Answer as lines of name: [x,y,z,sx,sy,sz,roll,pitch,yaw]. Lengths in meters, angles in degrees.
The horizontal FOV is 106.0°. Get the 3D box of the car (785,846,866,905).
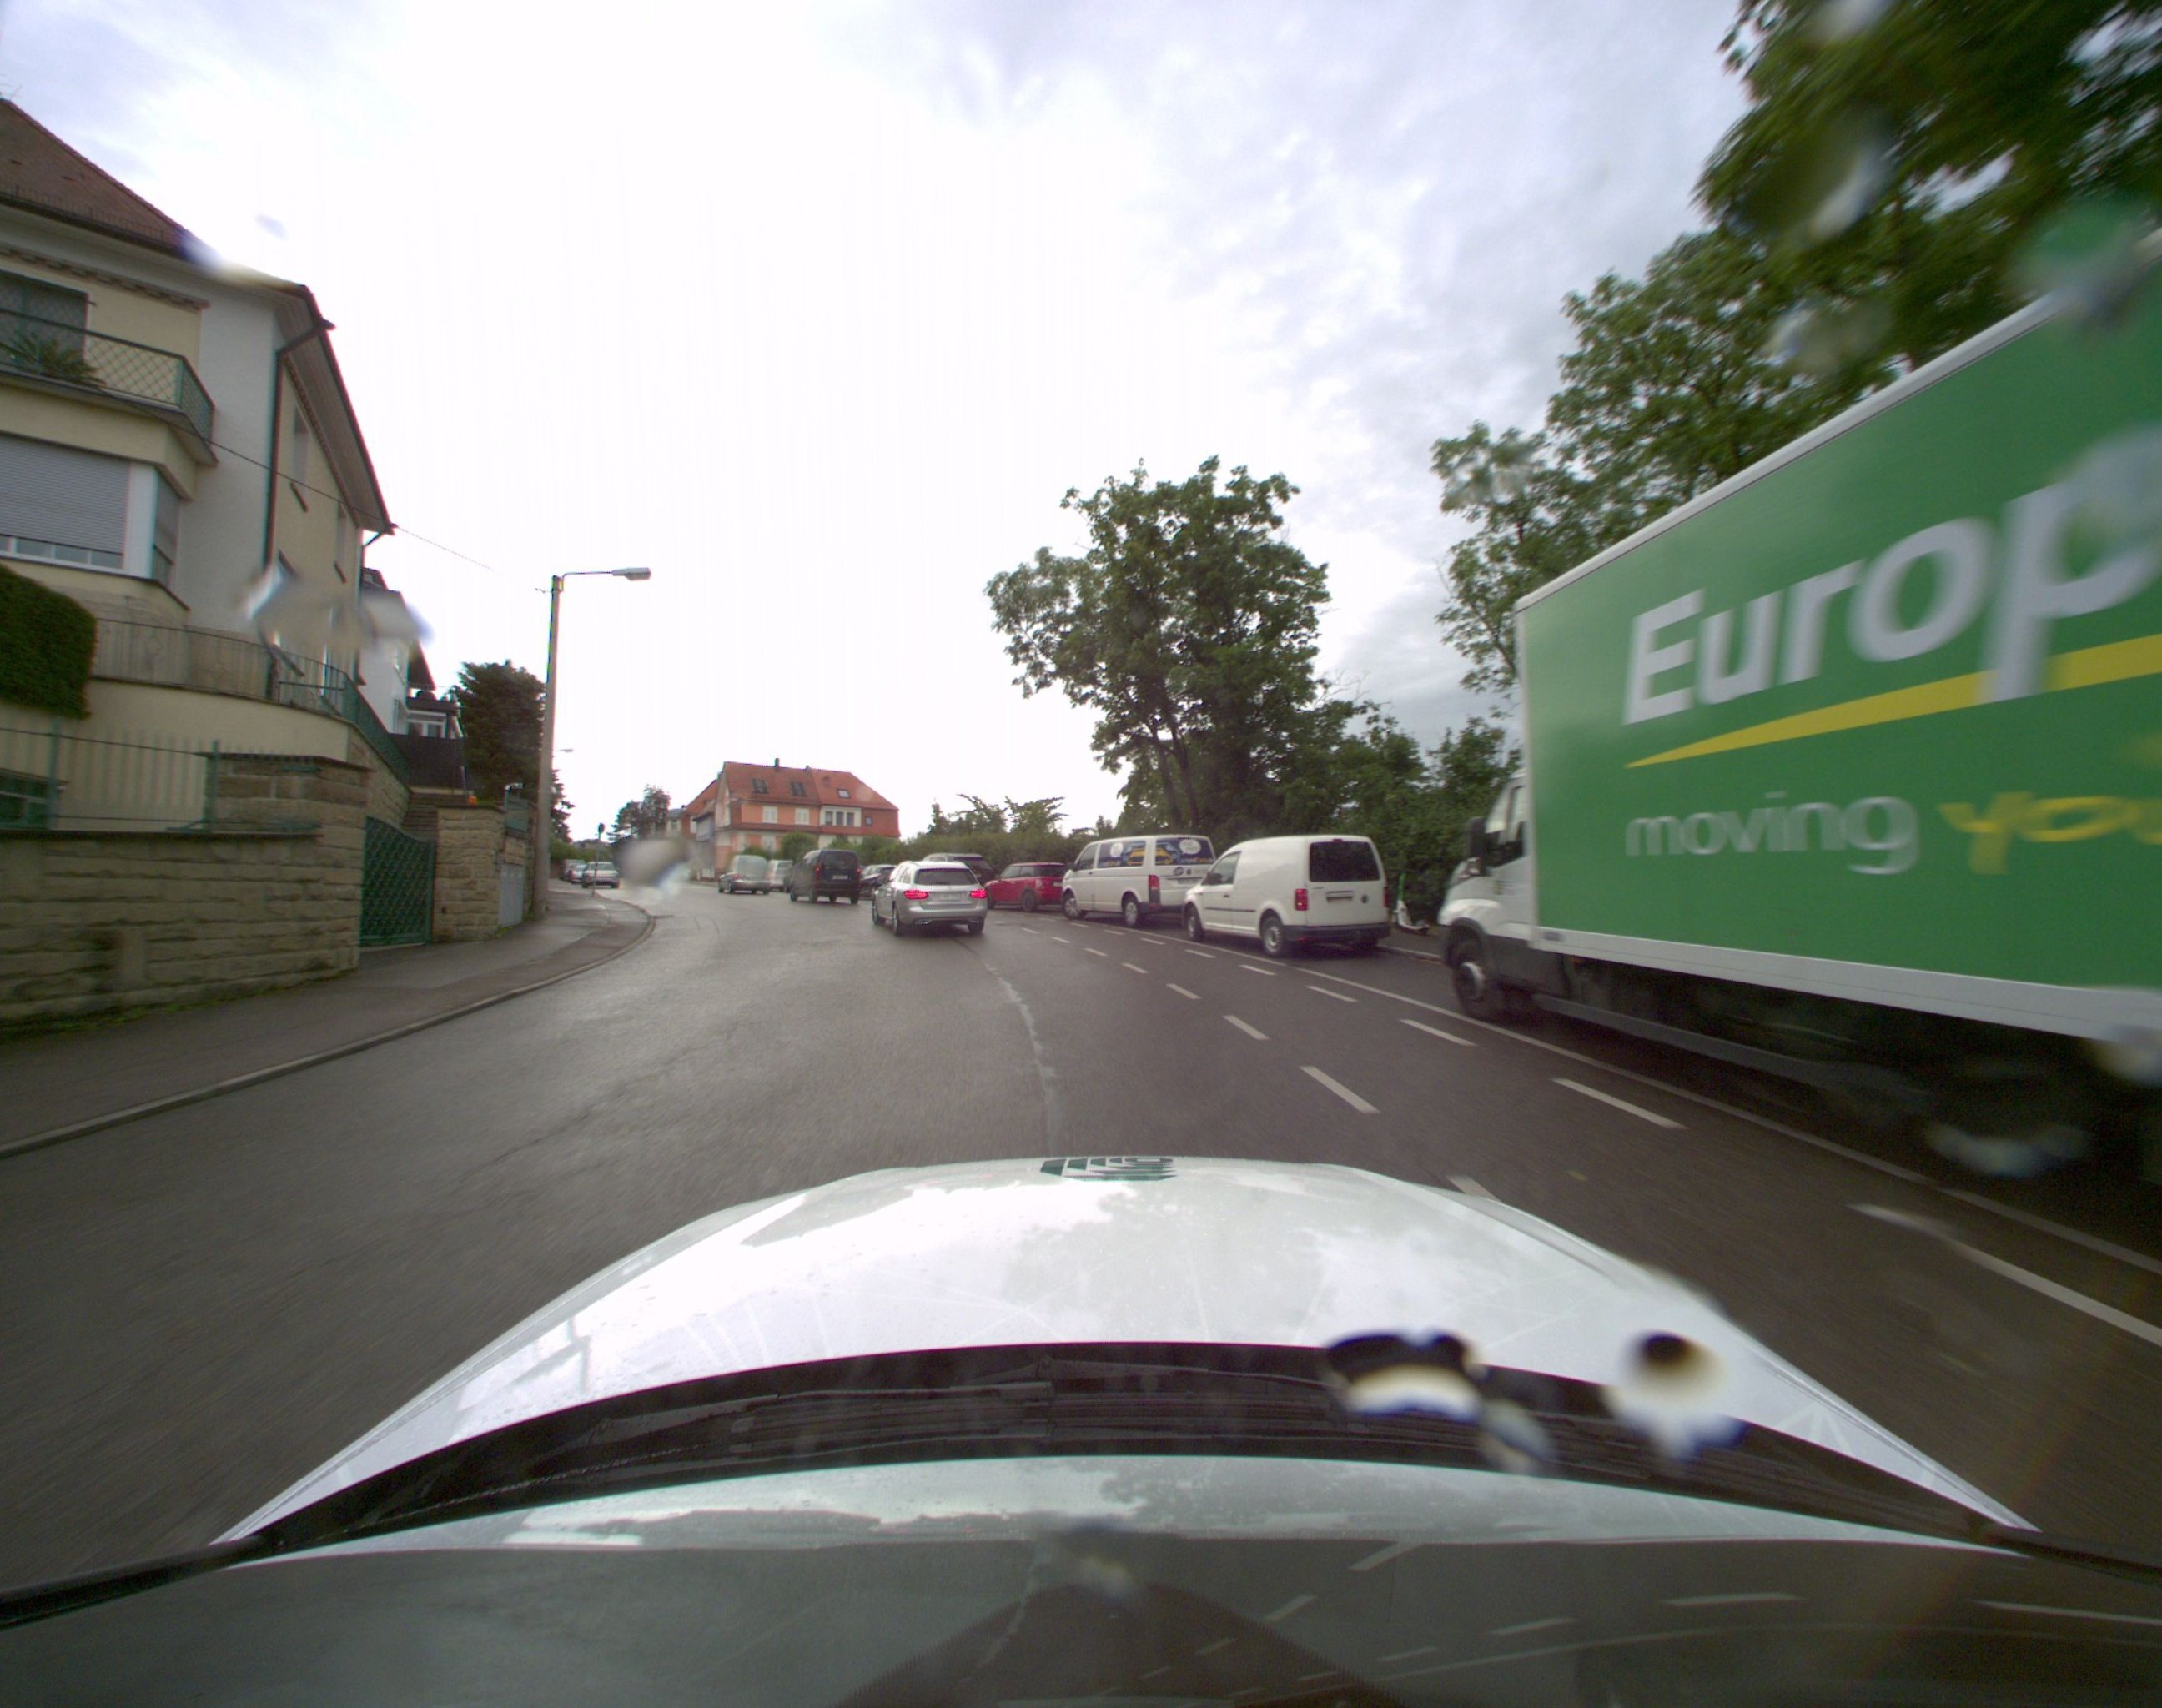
car: [-9.127,0.679,28.877,1.836,1.882,4.055,-2,1,-31]

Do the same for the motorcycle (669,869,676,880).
motorcycle: [-49.668,2.473,99.097,0.585,1.262,2.308,0,-1,-31]

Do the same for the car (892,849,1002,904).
car: [-4.893,0.776,29.168,2.041,1.783,4.847,2,-1,-34]

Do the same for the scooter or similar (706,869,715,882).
scooter or similar: [-37.191,2.177,81.752,0.696,1.224,1.288,3,-2,-26]

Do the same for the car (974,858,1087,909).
car: [-1.585,0.853,24.524,1.683,1.414,3.701,2,-1,-36]

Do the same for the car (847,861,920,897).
car: [-8.239,1.034,33.692,1.700,1.422,3.941,2,-2,-33]

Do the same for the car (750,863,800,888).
car: [-18.553,1.295,49.264,1.726,1.405,4.558,3,-3,-35]

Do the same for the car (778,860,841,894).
car: [-14.551,1.198,43.462,1.901,1.663,4.498,4,-3,-35]

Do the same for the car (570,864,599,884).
car: [-36.583,1.447,59.951,1.621,1.338,3.800,3,-2,-34]

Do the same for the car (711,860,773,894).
car: [-16.213,1.142,38.855,1.868,1.458,4.050,-2,-2,-35]

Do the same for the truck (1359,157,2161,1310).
truck: [4.572,-0.372,4.238,2.767,3.470,8.924,-2,0,-3]

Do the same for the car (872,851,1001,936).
car: [-3.227,0.768,17.474,1.990,1.554,4.268,-1,-1,-20]

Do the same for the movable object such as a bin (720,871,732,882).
movable object such as a bin: [-32.002,2.015,73.423,0.662,0.969,0.574,1,-3,24]

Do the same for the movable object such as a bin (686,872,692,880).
movable object such as a bin: [-43.915,2.446,91.227,0.553,0.936,0.627,-1,0,-34]

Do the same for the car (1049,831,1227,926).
car: [1.156,0.522,19.153,1.871,1.948,4.762,0,-1,-29]

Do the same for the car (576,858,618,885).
car: [-29.421,1.035,49.423,1.912,1.567,4.193,1,-1,-34]

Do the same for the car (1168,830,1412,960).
car: [3.226,0.569,13.605,1.865,1.770,4.351,-1,0,-18]
